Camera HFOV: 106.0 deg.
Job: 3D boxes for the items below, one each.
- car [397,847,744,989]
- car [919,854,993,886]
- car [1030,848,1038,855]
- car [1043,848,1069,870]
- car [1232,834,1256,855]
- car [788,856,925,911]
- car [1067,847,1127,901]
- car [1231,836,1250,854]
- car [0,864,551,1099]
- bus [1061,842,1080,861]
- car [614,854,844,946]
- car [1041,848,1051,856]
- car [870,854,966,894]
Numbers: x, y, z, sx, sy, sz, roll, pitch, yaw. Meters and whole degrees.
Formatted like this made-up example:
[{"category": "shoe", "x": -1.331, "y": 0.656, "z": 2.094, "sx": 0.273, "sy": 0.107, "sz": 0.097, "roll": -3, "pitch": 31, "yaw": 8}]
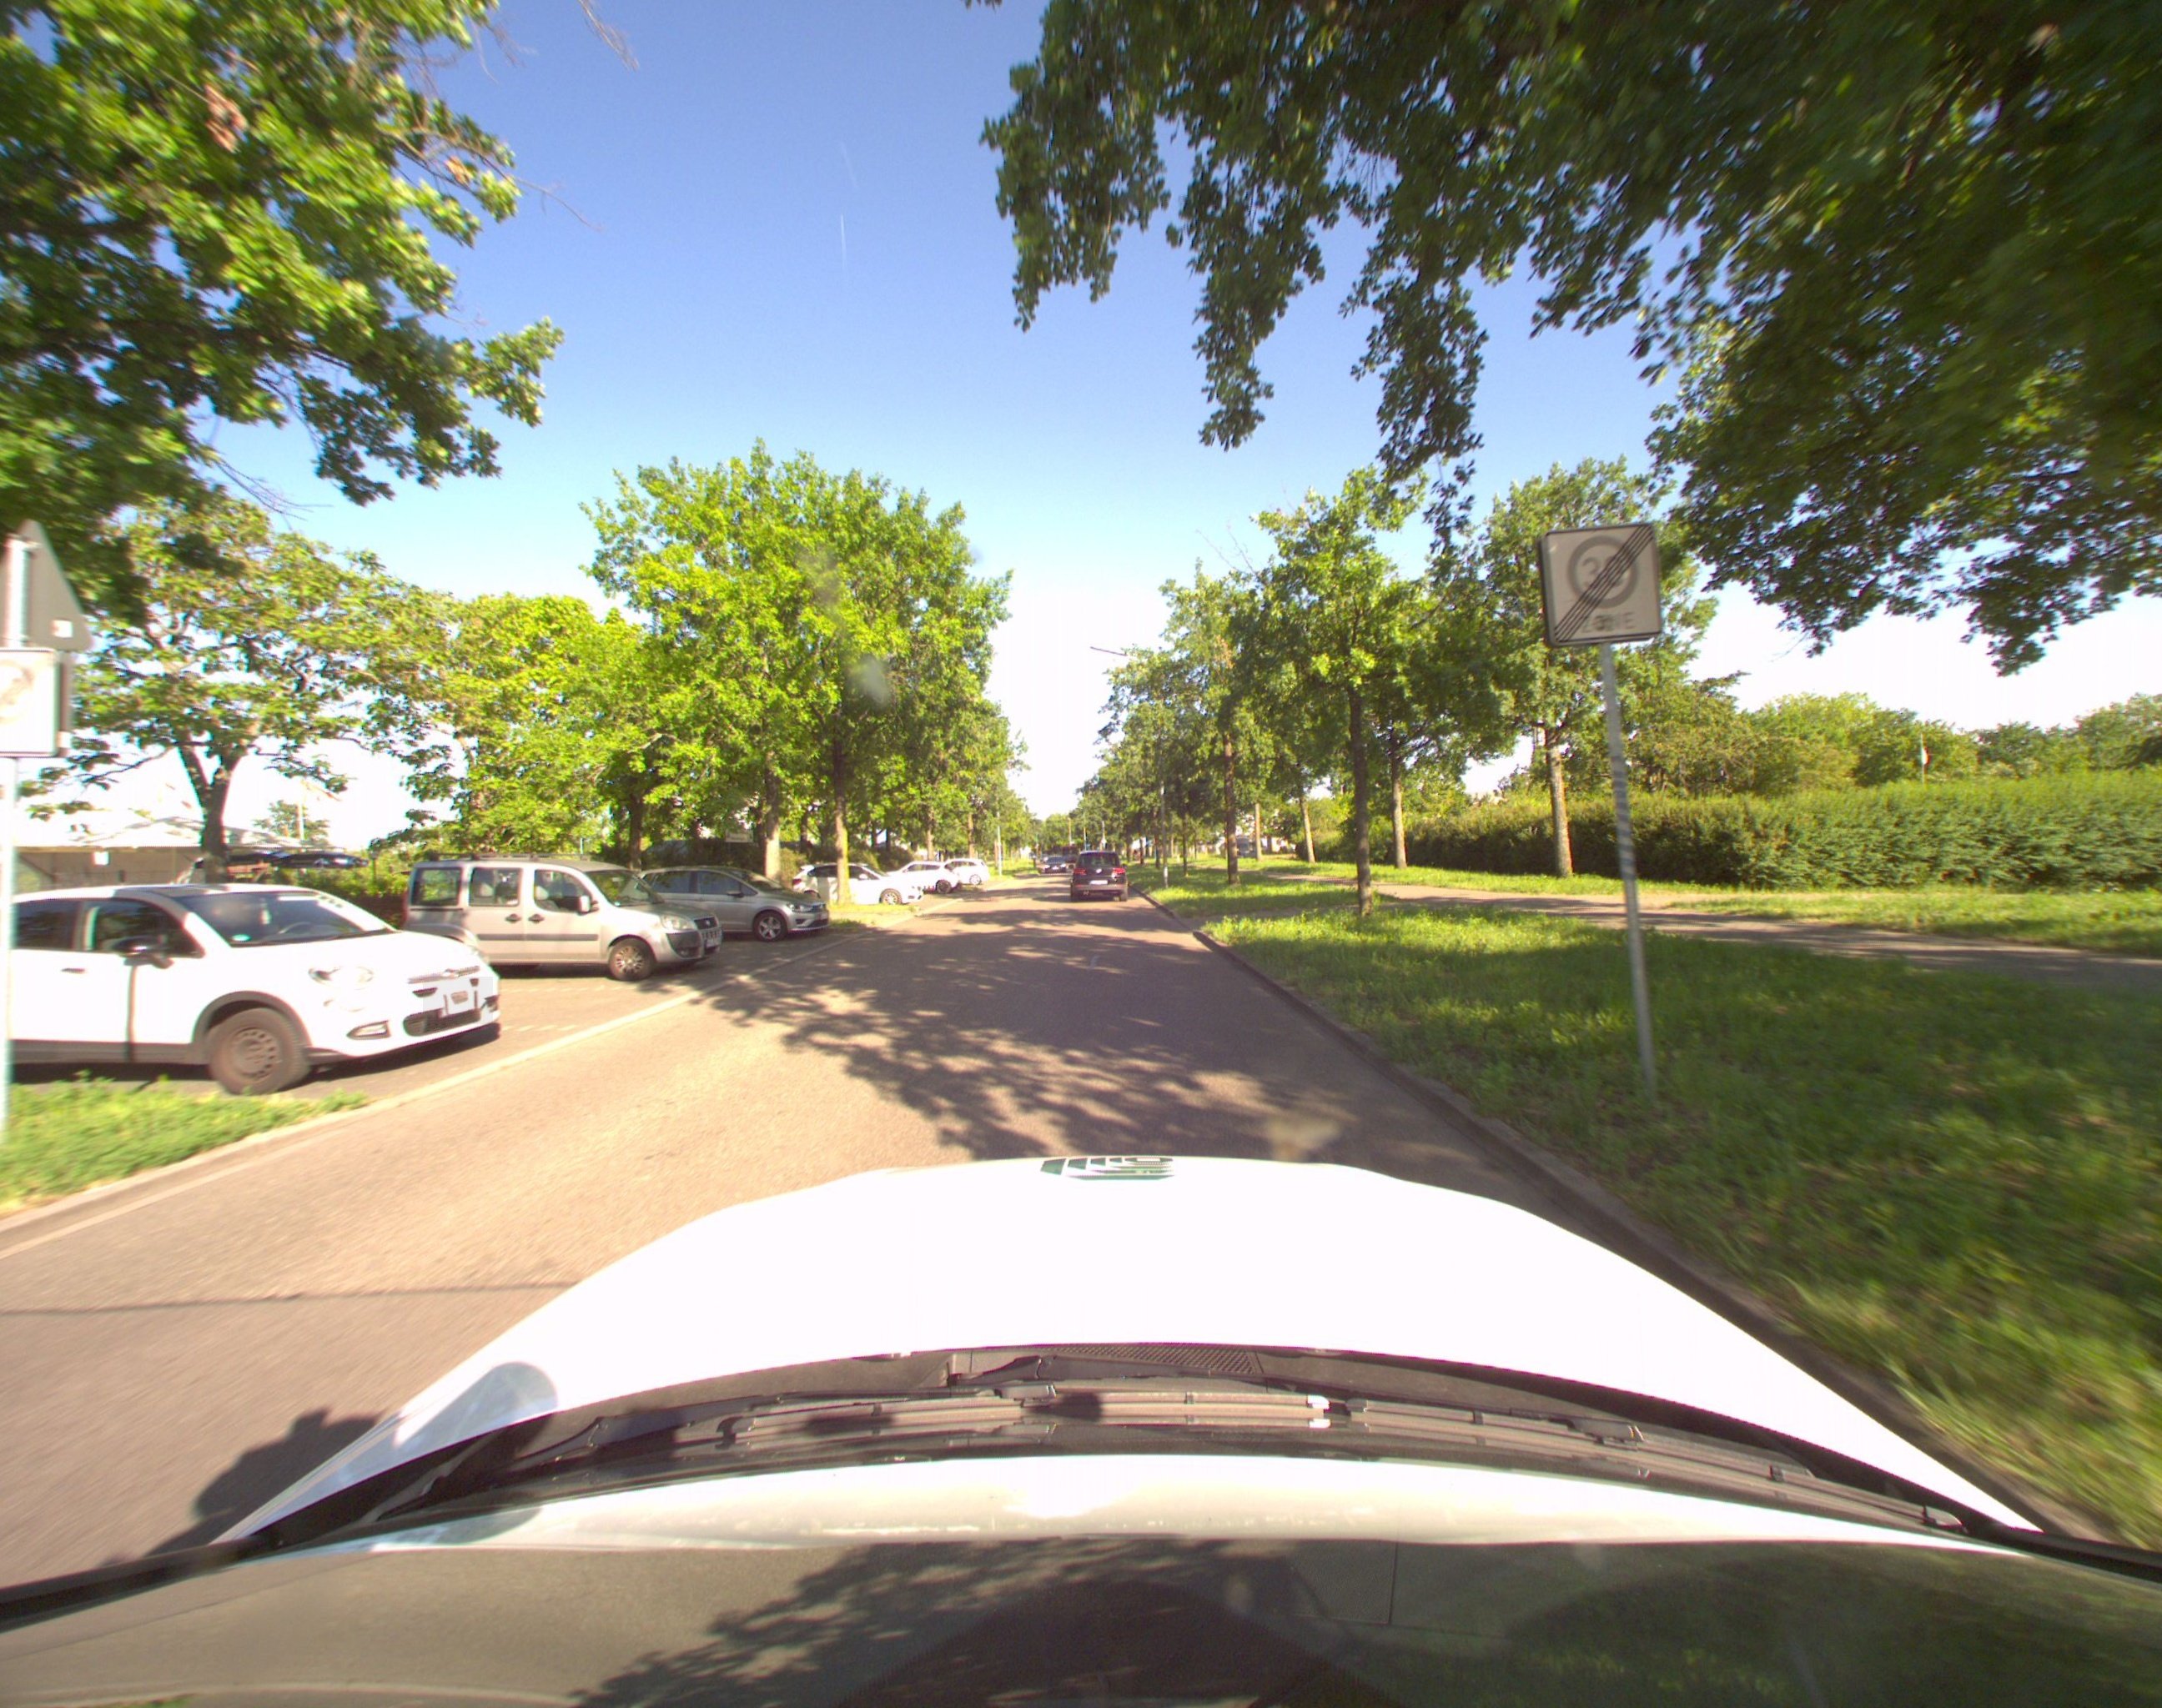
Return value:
[{"category": "car", "x": -7.603, "y": 0.903, "z": 12.440, "sx": 4.001, "sy": 1.839, "sz": 1.897, "roll": -2, "pitch": 0, "yaw": 1}, {"category": "car", "x": -7.410, "y": 0.956, "z": 48.564, "sx": 4.001, "sy": 1.647, "sz": 1.812, "roll": -3, "pitch": 0, "yaw": 1}, {"category": "car", "x": -12.336, "y": -0.649, "z": 212.453, "sx": 1.811, "sy": 1.775, "sz": 3.775, "roll": -3, "pitch": 0, "yaw": -2}, {"category": "car", "x": -2.066, "y": 0.384, "z": 67.830, "sx": 1.845, "sy": 1.693, "sz": 3.957, "roll": -3, "pitch": 0, "yaw": 2}, {"category": "car", "x": 16.830, "y": -0.959, "z": 84.023, "sx": 2.043, "sy": 2.013, "sz": 4.008, "roll": -3, "pitch": 0, "yaw": 7}, {"category": "car", "x": -7.519, "y": 0.965, "z": 27.544, "sx": 4.001, "sy": 1.647, "sz": 1.812, "roll": -2, "pitch": 0, "yaw": 1}, {"category": "car", "x": 0.547, "y": 0.605, "z": 27.321, "sx": 1.831, "sy": 1.636, "sz": 3.959, "roll": -2, "pitch": 1, "yaw": 1}, {"category": "car", "x": 18.453, "y": -1.018, "z": 94.420, "sx": 1.981, "sy": 2.013, "sz": 4.011, "roll": -3, "pitch": 0, "yaw": 9}, {"category": "car", "x": -7.377, "y": 1.001, "z": 7.082, "sx": 4.226, "sy": 1.623, "sz": 1.897, "roll": -2, "pitch": 0, "yaw": 1}, {"category": "bus", "x": -1.784, "y": -0.457, "z": 136.941, "sx": 2.920, "sy": 3.003, "sz": 5.735, "roll": -3, "pitch": 0, "yaw": -1}, {"category": "car", "x": -7.427, "y": 0.942, "z": 17.482, "sx": 4.001, "sy": 1.647, "sz": 1.897, "roll": -3, "pitch": 0, "yaw": 1}, {"category": "car", "x": -6.878, "y": -0.366, "z": 162.342, "sx": 1.820, "sy": 1.551, "sz": 3.687, "roll": -3, "pitch": 0, "yaw": -1}, {"category": "car", "x": -7.528, "y": 0.899, "z": 37.975, "sx": 4.001, "sy": 1.647, "sz": 1.812, "roll": -2, "pitch": 0, "yaw": 1}]
